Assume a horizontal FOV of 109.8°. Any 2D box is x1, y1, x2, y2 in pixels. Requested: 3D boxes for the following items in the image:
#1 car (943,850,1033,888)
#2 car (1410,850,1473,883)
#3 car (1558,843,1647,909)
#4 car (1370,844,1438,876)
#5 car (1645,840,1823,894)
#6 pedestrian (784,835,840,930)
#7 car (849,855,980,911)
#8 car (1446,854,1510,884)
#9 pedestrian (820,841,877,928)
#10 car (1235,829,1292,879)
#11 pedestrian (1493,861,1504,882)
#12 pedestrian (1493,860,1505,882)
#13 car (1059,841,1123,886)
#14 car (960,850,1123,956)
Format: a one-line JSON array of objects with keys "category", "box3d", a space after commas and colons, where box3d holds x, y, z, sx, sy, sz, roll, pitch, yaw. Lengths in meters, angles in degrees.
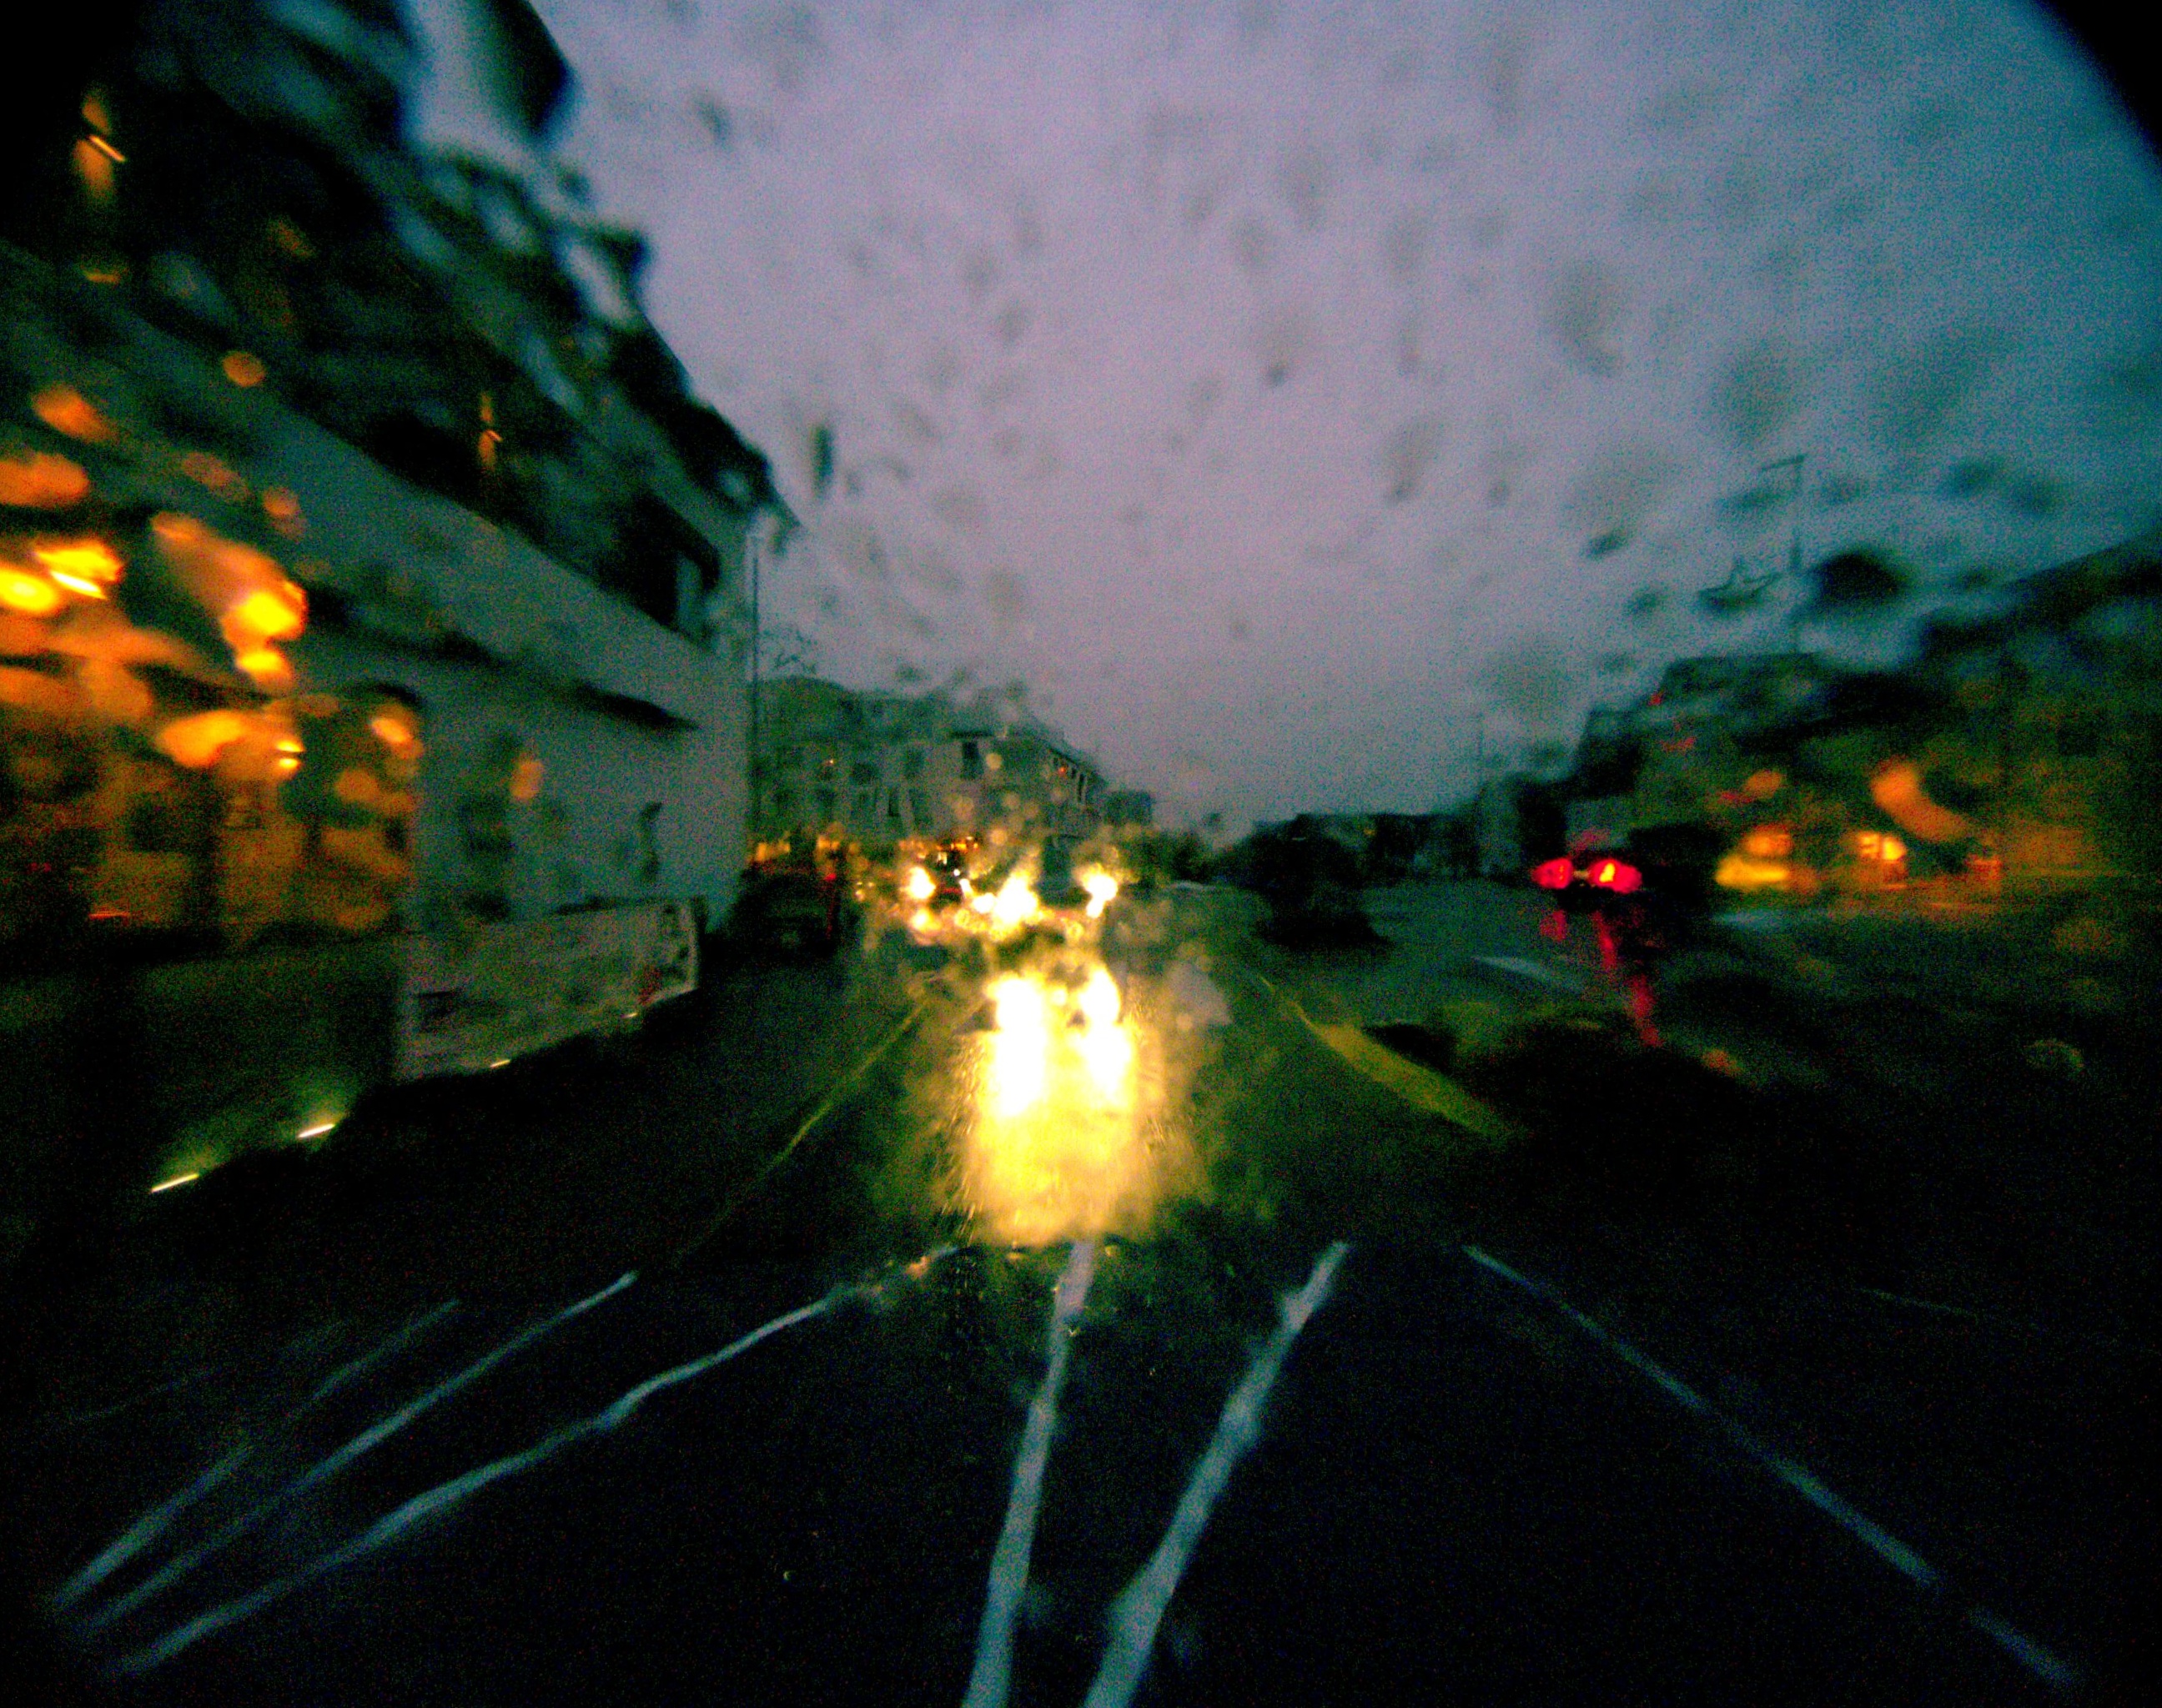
[{"category": "car", "box3d": [-4.214, 0.669, 35.325, 2.024, 1.471, 4.564, -1, 2, 24]}, {"category": "car", "box3d": [24.837, 0.819, 52.507, 1.926, 2.002, 3.966, -2, 2, -12]}, {"category": "car", "box3d": [13.352, 0.497, 19.466, 1.703, 1.494, 3.906, -1, 1, 35]}, {"category": "car", "box3d": [22.110, 0.380, 52.133, 1.974, 1.984, 3.991, -3, 2, -25]}, {"category": "car", "box3d": [21.628, 0.401, 25.434, 4.361, 1.596, 1.892, 0, 3, 36]}, {"category": "pedestrian", "box3d": [-5.447, 0.553, 15.379, 0.789, 1.856, 0.711, 1, 3, 44]}, {"category": "car", "box3d": [-5.091, 0.830, 22.966, 4.008, 1.471, 1.767, -1, 2, 41]}, {"category": "car", "box3d": [27.514, 0.995, 52.782, 1.936, 1.871, 3.866, -2, 2, -12]}, {"category": "pedestrian", "box3d": [-4.872, 0.610, 15.920, 0.789, 1.752, 0.770, 1, 3, 44]}, {"category": "car", "box3d": [8.180, -0.062, 33.773, 2.055, 1.976, 4.542, -1, 2, 18]}, {"category": "pedestrian", "box3d": [31.355, 1.314, 57.051, 0.582, 1.602, 0.500, -2, 3, 6]}, {"category": "pedestrian", "box3d": [30.538, 1.233, 55.490, 0.582, 1.602, 0.500, -2, 3, 6]}, {"category": "car", "box3d": [0.384, 0.300, 28.523, 2.172, 1.469, 3.999, -2, 2, 1]}, {"category": "car", "box3d": [-0.902, 0.751, 13.884, 1.961, 1.576, 4.103, -1, 0, -18]}]
